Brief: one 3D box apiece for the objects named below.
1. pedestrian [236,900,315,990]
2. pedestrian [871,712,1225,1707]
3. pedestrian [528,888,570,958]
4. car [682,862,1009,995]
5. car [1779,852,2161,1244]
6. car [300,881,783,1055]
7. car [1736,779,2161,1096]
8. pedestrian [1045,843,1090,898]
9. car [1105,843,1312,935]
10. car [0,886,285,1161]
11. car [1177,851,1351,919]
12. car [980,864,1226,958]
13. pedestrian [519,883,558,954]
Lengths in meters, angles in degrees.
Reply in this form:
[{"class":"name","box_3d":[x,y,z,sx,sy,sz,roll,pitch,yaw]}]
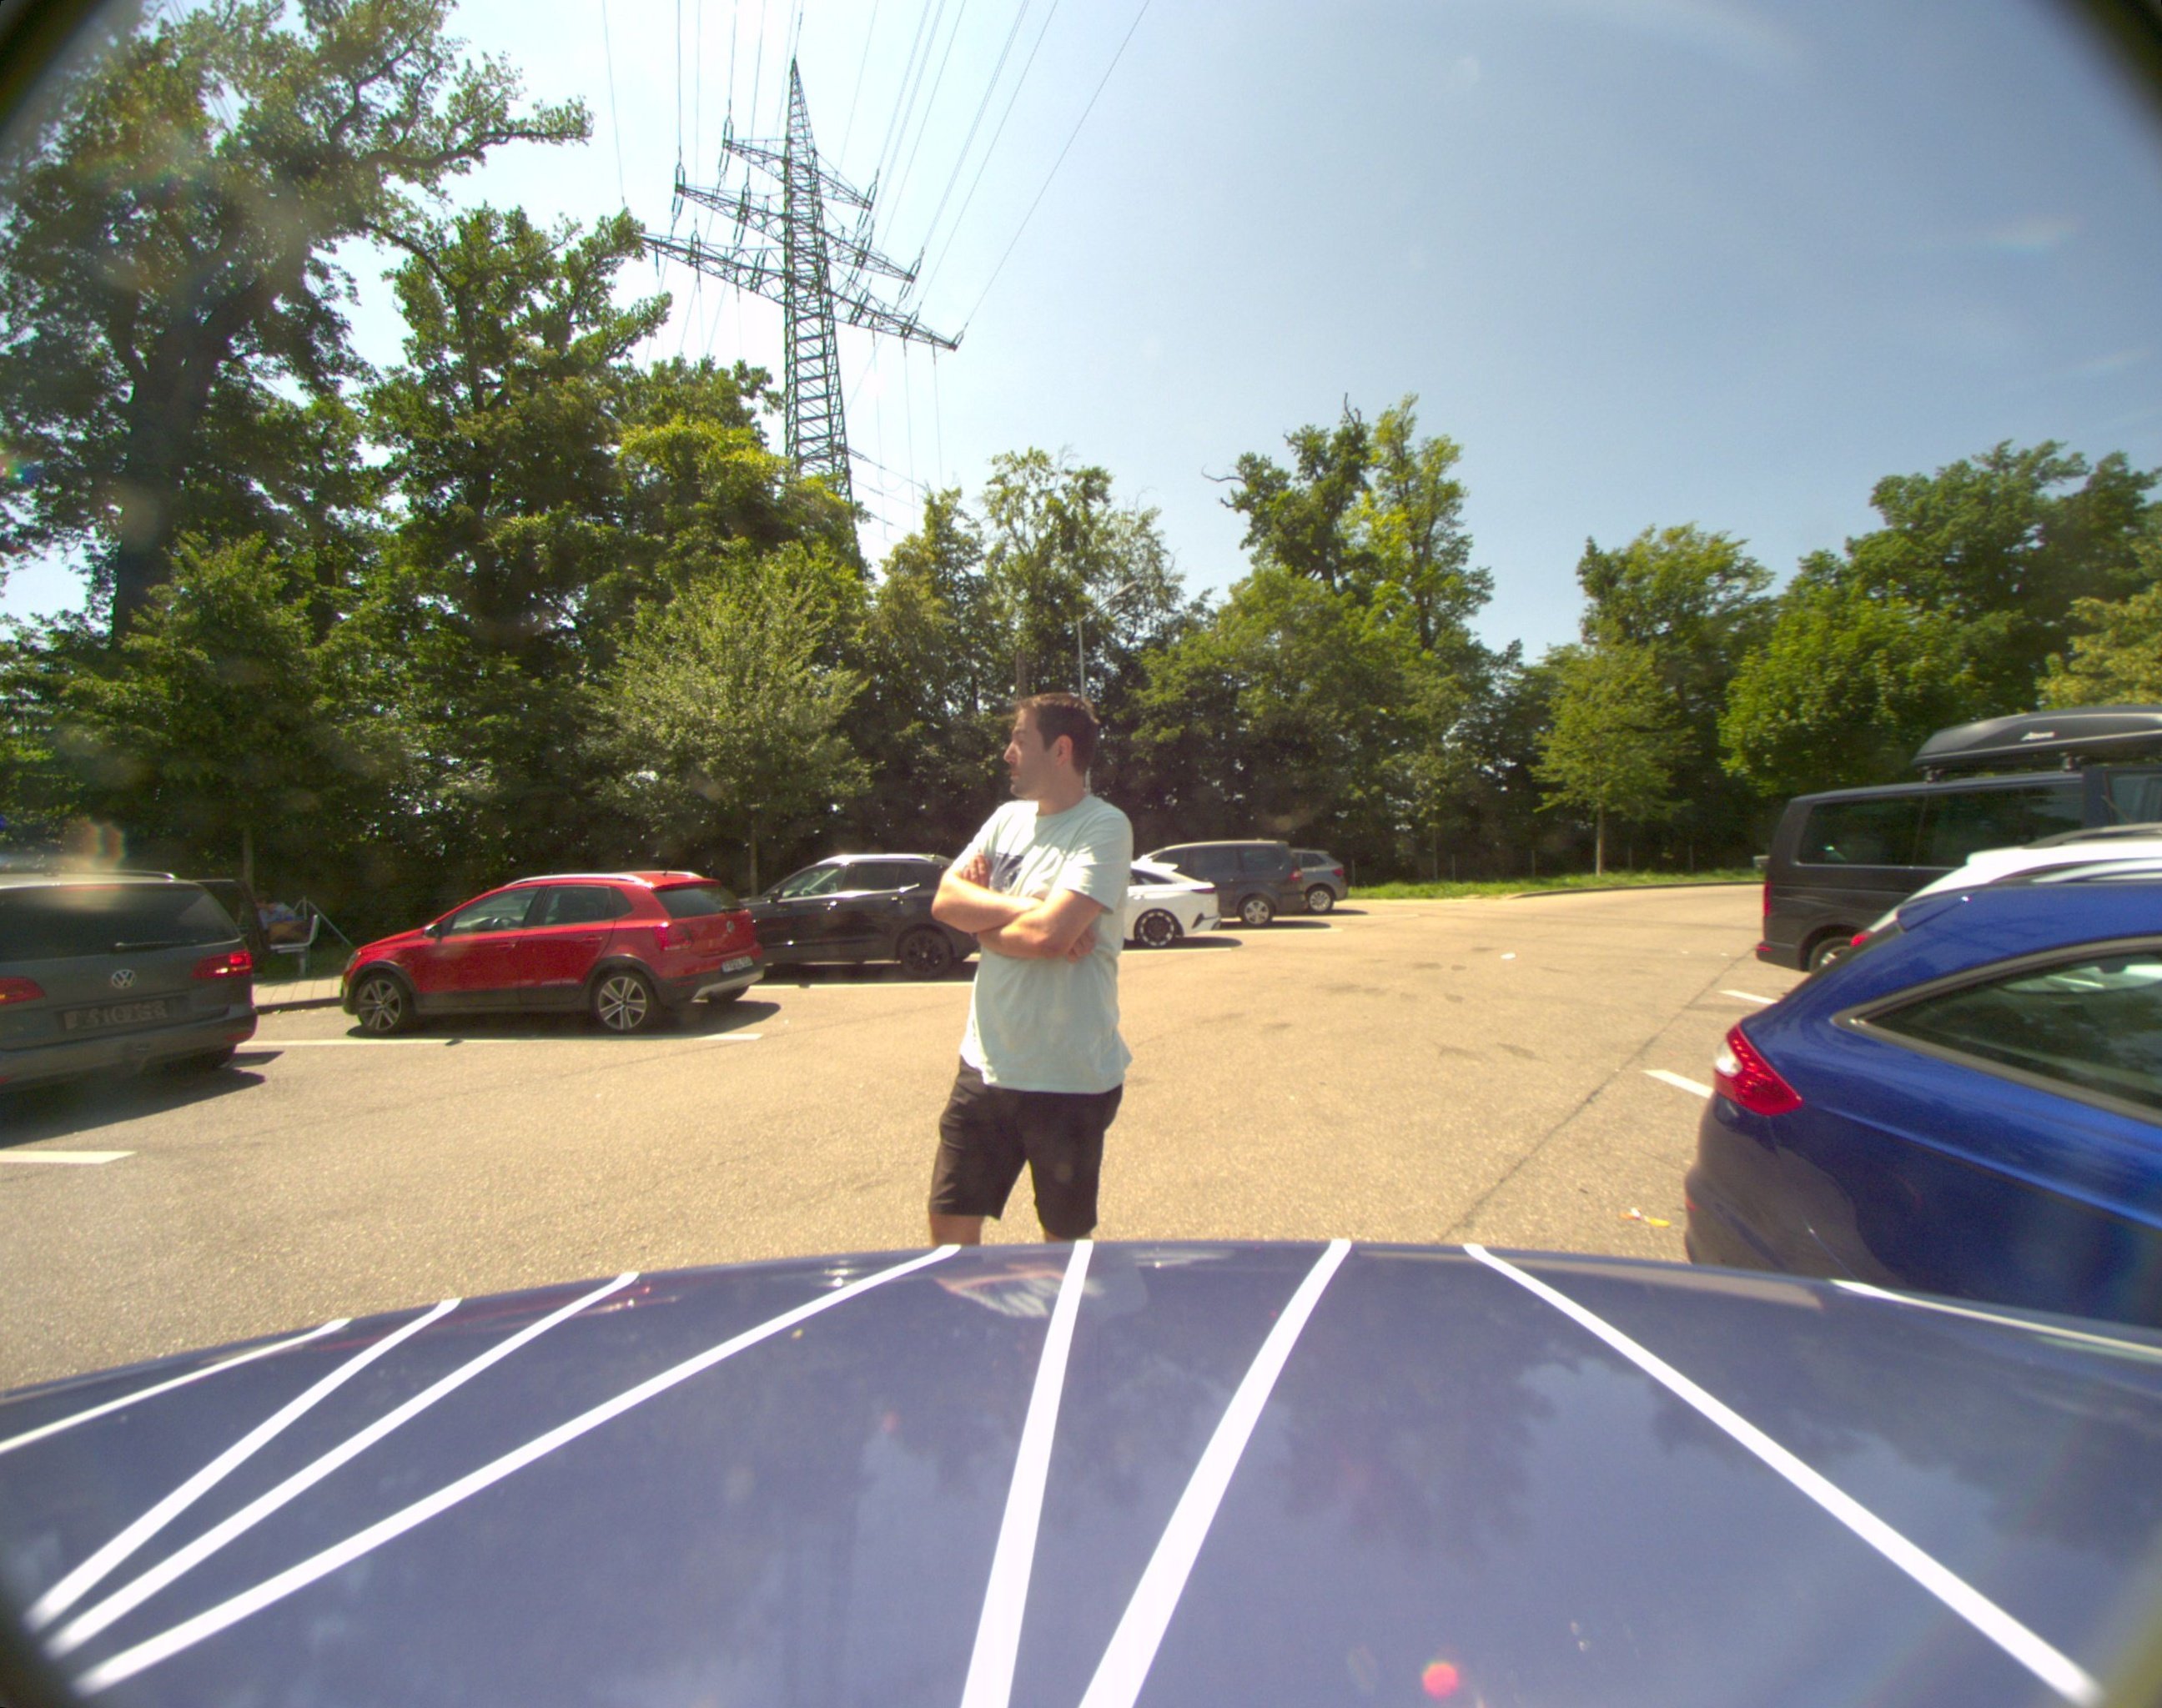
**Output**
[{"class":"pedestrian","box_3d":[-11.727,1.305,11.069,0.680,1.211,0.675,-4,-2,36]},{"class":"pedestrian","box_3d":[-0.143,0.663,1.850,0.634,1.857,0.747,-2,0,-17]},{"class":"pedestrian","box_3d":[-10.172,1.301,14.529,0.490,1.291,0.506,-2,0,41]},{"class":"car","box_3d":[-3.011,0.942,10.285,3.806,1.538,1.759,-1,1,2]},{"class":"car","box_3d":[4.775,0.706,2.421,1.607,1.405,3.743,-2,-1,-1]},{"class":"car","box_3d":[-5.245,1.067,7.658,3.804,1.449,1.637,-1,1,7]},{"class":"car","box_3d":[7.303,0.461,5.017,2.048,1.850,4.430,-2,-1,-1]},{"class":"pedestrian","box_3d":[-0.323,0.407,18.840,0.890,1.292,0.865,-2,0,13]},{"class":"car","box_3d":[2.506,0.685,15.485,3.882,1.680,1.882,-1,0,5]},{"class":"car","box_3d":[-8.346,1.097,5.442,3.950,1.581,1.753,-1,1,11]},{"class":"car","box_3d":[4.255,0.712,18.128,3.805,1.468,1.743,-1,1,5]},{"class":"car","box_3d":[0.404,0.912,12.734,3.805,1.359,1.803,-1,1,5]},{"class":"pedestrian","box_3d":[-10.957,1.284,15.334,0.490,1.367,0.506,-2,0,41]}]
